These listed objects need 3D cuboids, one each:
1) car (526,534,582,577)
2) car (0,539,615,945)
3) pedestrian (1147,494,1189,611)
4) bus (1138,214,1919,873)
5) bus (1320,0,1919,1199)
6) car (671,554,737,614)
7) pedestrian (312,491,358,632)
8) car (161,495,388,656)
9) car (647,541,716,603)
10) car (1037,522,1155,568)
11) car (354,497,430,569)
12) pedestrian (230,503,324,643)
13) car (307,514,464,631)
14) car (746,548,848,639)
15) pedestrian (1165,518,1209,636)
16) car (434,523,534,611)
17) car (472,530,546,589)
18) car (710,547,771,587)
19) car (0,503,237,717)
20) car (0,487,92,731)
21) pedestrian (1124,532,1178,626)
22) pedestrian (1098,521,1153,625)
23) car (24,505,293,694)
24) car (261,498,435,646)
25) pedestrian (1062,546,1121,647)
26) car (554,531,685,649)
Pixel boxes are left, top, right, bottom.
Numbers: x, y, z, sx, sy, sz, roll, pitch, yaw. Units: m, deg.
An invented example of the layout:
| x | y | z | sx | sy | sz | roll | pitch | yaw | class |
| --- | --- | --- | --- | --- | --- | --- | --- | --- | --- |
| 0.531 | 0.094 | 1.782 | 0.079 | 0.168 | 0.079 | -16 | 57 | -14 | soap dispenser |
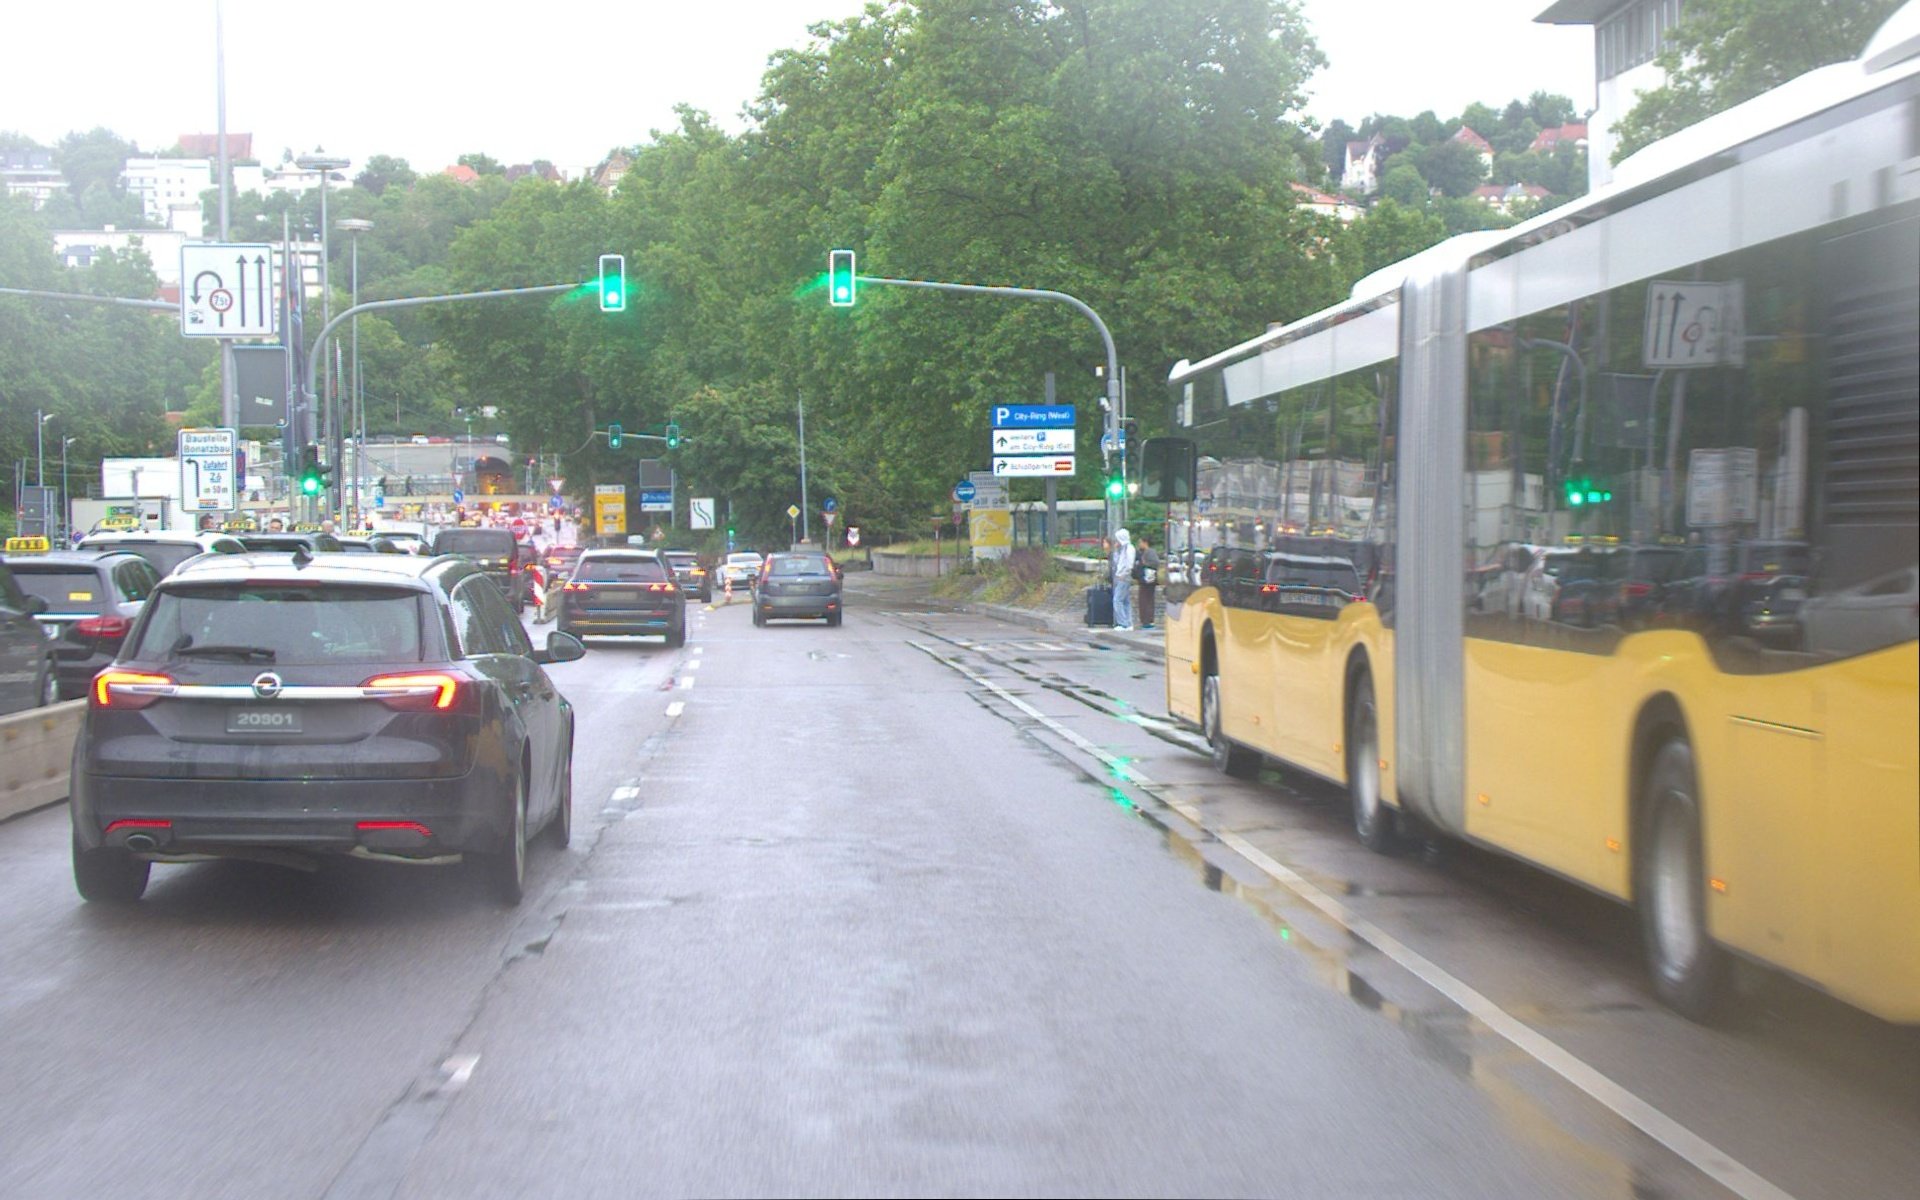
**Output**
| x | y | z | sx | sy | sz | roll | pitch | yaw | class |
| --- | --- | --- | --- | --- | --- | --- | --- | --- | --- |
| -17.250 | -1.888 | 145.917 | 1.993 | 1.820 | 4.001 | 0 | 1 | -12 | car |
| -2.700 | 0.488 | 15.275 | 1.877 | 1.503 | 4.852 | 0 | 1 | 0 | car |
| 3.867 | -0.887 | 63.826 | 0.708 | 2.138 | 0.721 | -1 | 1 | 6 | pedestrian |
| 3.120 | -0.315 | 21.363 | 3.113 | 3.194 | 9.243 | 0 | 1 | -3 | bus |
| 3.480 | -0.240 | 12.200 | 3.141 | 3.236 | 9.136 | 0 | 1 | -2 | bus |
| -6.854 | -0.429 | 92.209 | 1.674 | 1.576 | 3.240 | 0 | 1 | -3 | car |
| -9.008 | -0.559 | 49.565 | 0.527 | 2.007 | 0.891 | -1 | 1 | -5 | pedestrian |
| -8.165 | -0.323 | 41.364 | 1.993 | 1.781 | 4.848 | -1 | 1 | -3 | car |
| -7.882 | -0.787 | 97.421 | 1.903 | 1.711 | 4.001 | 0 | 1 | -4 | car |
| 4.542 | -1.834 | 115.080 | 3.615 | 1.500 | 1.730 | 1 | 1 | 36 | car |
| -16.348 | -1.899 | 99.152 | 1.993 | 2.007 | 5.371 | 0 | 1 | -7 | car |
| -9.961 | -0.406 | 50.120 | 0.835 | 2.007 | 1.026 | 0 | 1 | 35 | pedestrian |
| -8.785 | -0.448 | 52.912 | 1.786 | 1.680 | 4.667 | -1 | 1 | -2 | car |
| -3.193 | -0.138 | 66.740 | 1.851 | 1.711 | 4.001 | 0 | 1 | -4 | car |
| 4.143 | -0.425 | 62.735 | 0.554 | 2.138 | 0.668 | -1 | 1 | -17 | pedestrian |
| -10.302 | -0.715 | 74.668 | 1.993 | 1.839 | 5.063 | 0 | 1 | -6 | car |
| -11.806 | -1.050 | 90.151 | 1.823 | 1.506 | 4.491 | 0 | 1 | -6 | car |
| -8.797 | -1.303 | 137.510 | 1.813 | 1.569 | 4.001 | 0 | 1 | -13 | car |
| -7.793 | 0.045 | 30.290 | 2.049 | 1.705 | 5.056 | -1 | 1 | -4 | car |
| -7.543 | 0.065 | 24.041 | 1.993 | 1.648 | 4.642 | -1 | 1 | -3 | car |
| 3.447 | -0.386 | 62.130 | 0.875 | 1.685 | 0.758 | -1 | 1 | -3 | pedestrian |
| 2.917 | -0.481 | 60.600 | 0.745 | 1.798 | 0.710 | -1 | 1 | -17 | pedestrian |
| -8.154 | -0.043 | 35.361 | 1.993 | 1.781 | 4.455 | -1 | 1 | -4 | car |
| -8.277 | -0.405 | 46.824 | 1.713 | 1.885 | 4.611 | -1 | 1 | -3 | car |
| 2.413 | -0.076 | 63.347 | 0.786 | 1.832 | 0.951 | -1 | 1 | -17 | pedestrian |
| -5.092 | -0.176 | 51.880 | 1.830 | 1.680 | 4.135 | -1 | 1 | -4 | car |
